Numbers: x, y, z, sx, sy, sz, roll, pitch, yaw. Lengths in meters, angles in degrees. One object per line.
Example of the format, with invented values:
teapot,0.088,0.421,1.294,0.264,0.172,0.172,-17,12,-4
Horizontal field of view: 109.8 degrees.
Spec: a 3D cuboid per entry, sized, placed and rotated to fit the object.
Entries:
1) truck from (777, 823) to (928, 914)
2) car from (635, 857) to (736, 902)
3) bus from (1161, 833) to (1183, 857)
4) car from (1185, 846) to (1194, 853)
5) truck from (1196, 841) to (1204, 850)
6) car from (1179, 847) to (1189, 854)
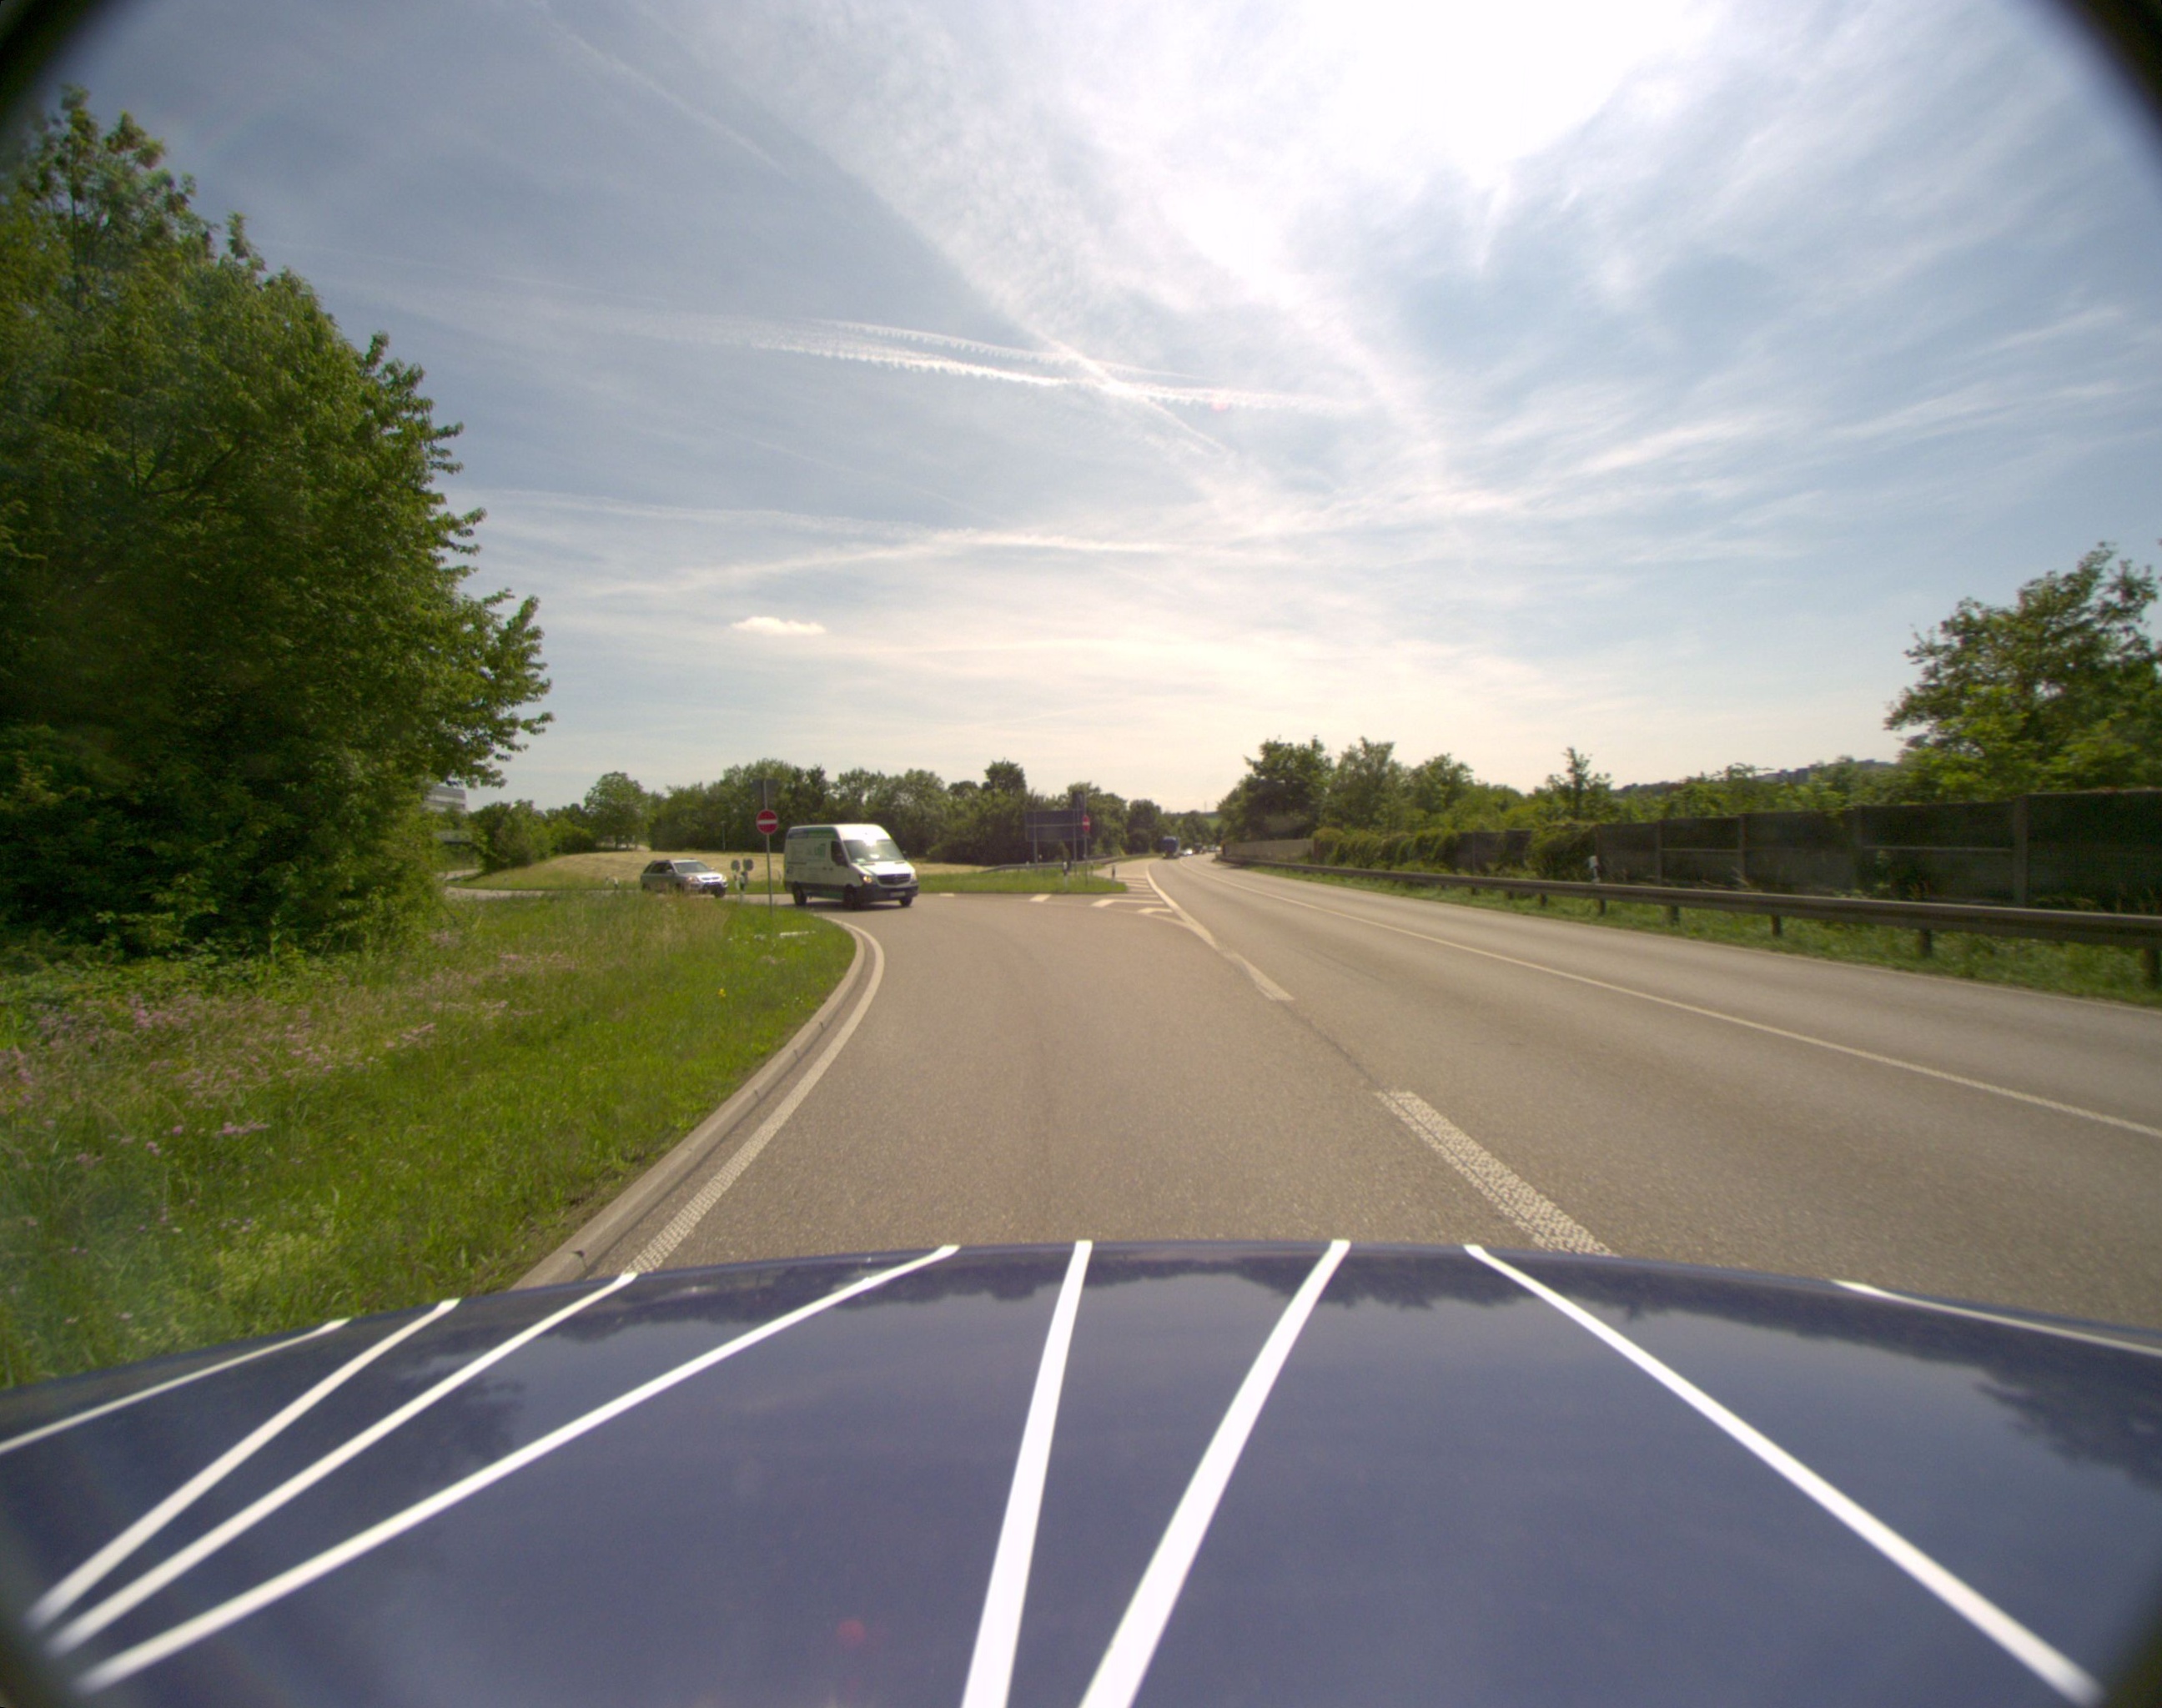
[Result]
truck,-7.414,0.401,24.183,2.004,2.571,5.870,-3,1,-45
car,-16.571,1.074,31.791,4.078,1.699,1.853,-2,2,32
bus,16.604,-1.678,137.977,3.348,4.046,10.520,-1,1,10
car,28.169,-1.128,197.402,1.997,1.636,4.003,-1,1,11
truck,34.427,-2.558,220.307,1.997,2.584,5.824,-1,1,12
car,24.043,-0.780,177.159,1.997,1.632,4.003,-1,1,11
